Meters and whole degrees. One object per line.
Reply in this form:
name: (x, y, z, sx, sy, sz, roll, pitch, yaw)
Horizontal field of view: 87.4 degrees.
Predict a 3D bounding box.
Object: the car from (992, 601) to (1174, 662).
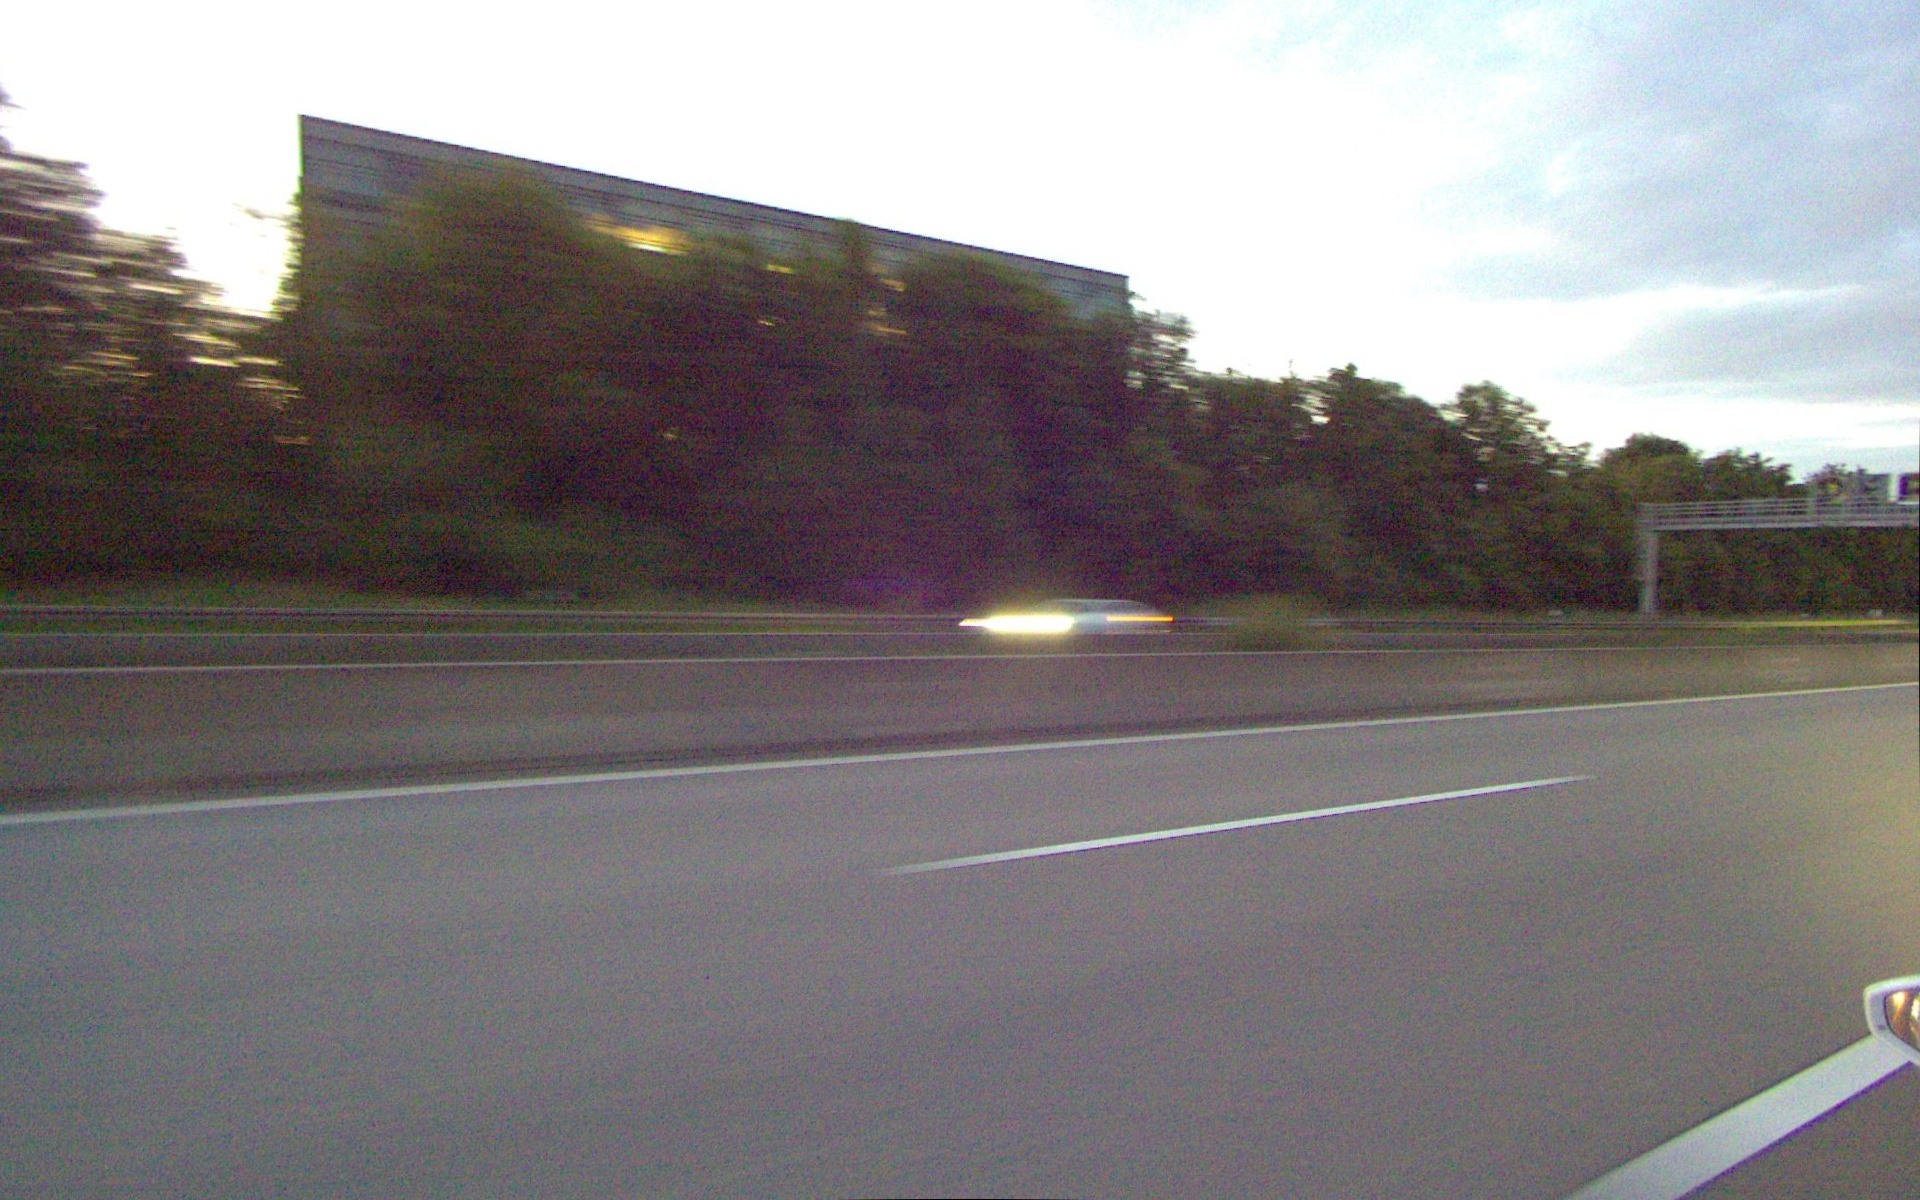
car: (3.533, 0.888, 28.564, 4.948, 1.554, 1.983, 2, 0, -31)
